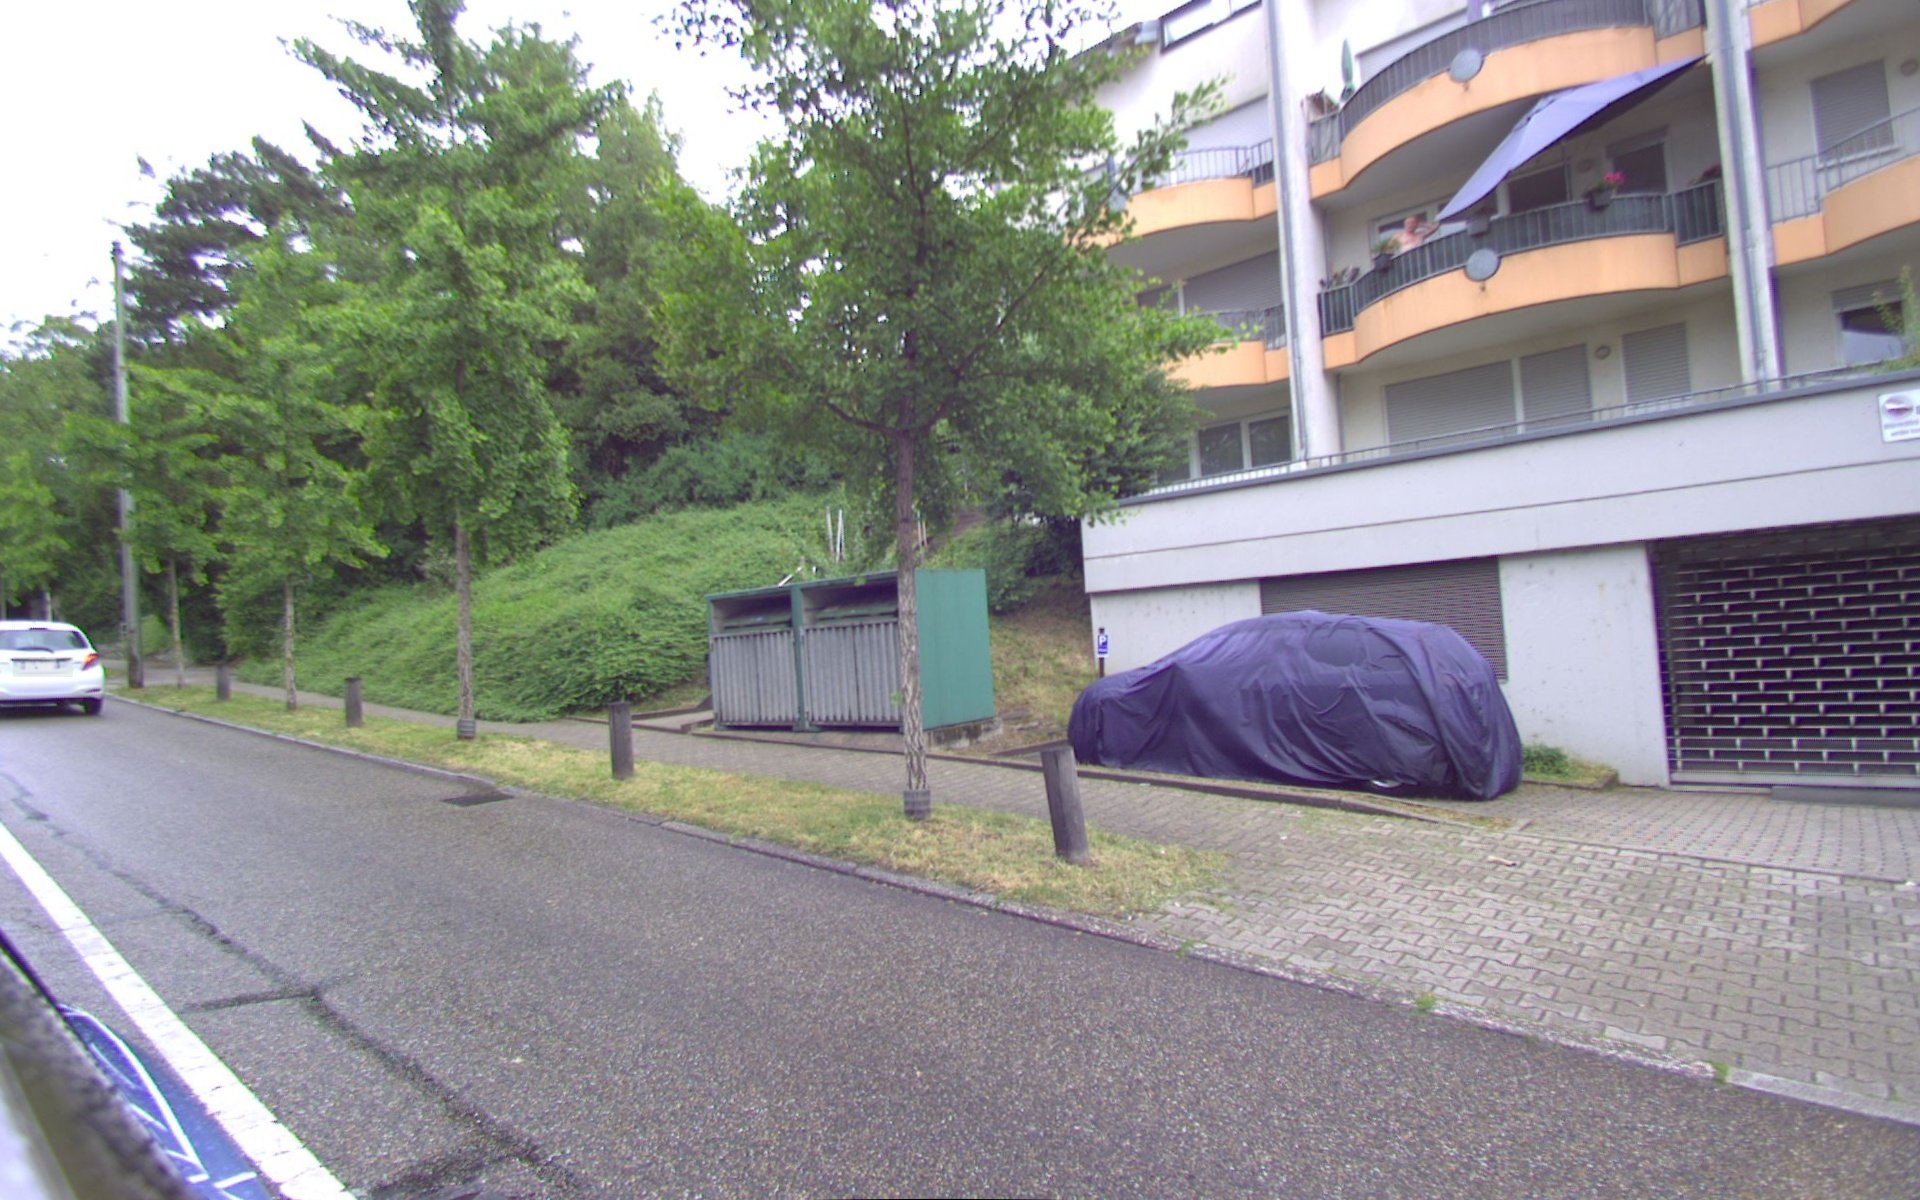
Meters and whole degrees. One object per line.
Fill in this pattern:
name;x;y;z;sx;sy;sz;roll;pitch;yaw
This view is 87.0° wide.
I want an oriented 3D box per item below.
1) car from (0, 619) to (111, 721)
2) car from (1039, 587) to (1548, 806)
car;-15.708;1.106;16.828;3.838;1.543;1.692;-1;-3;39
car;2.910;0.783;9.333;4.096;1.573;1.759;-1;-4;41
